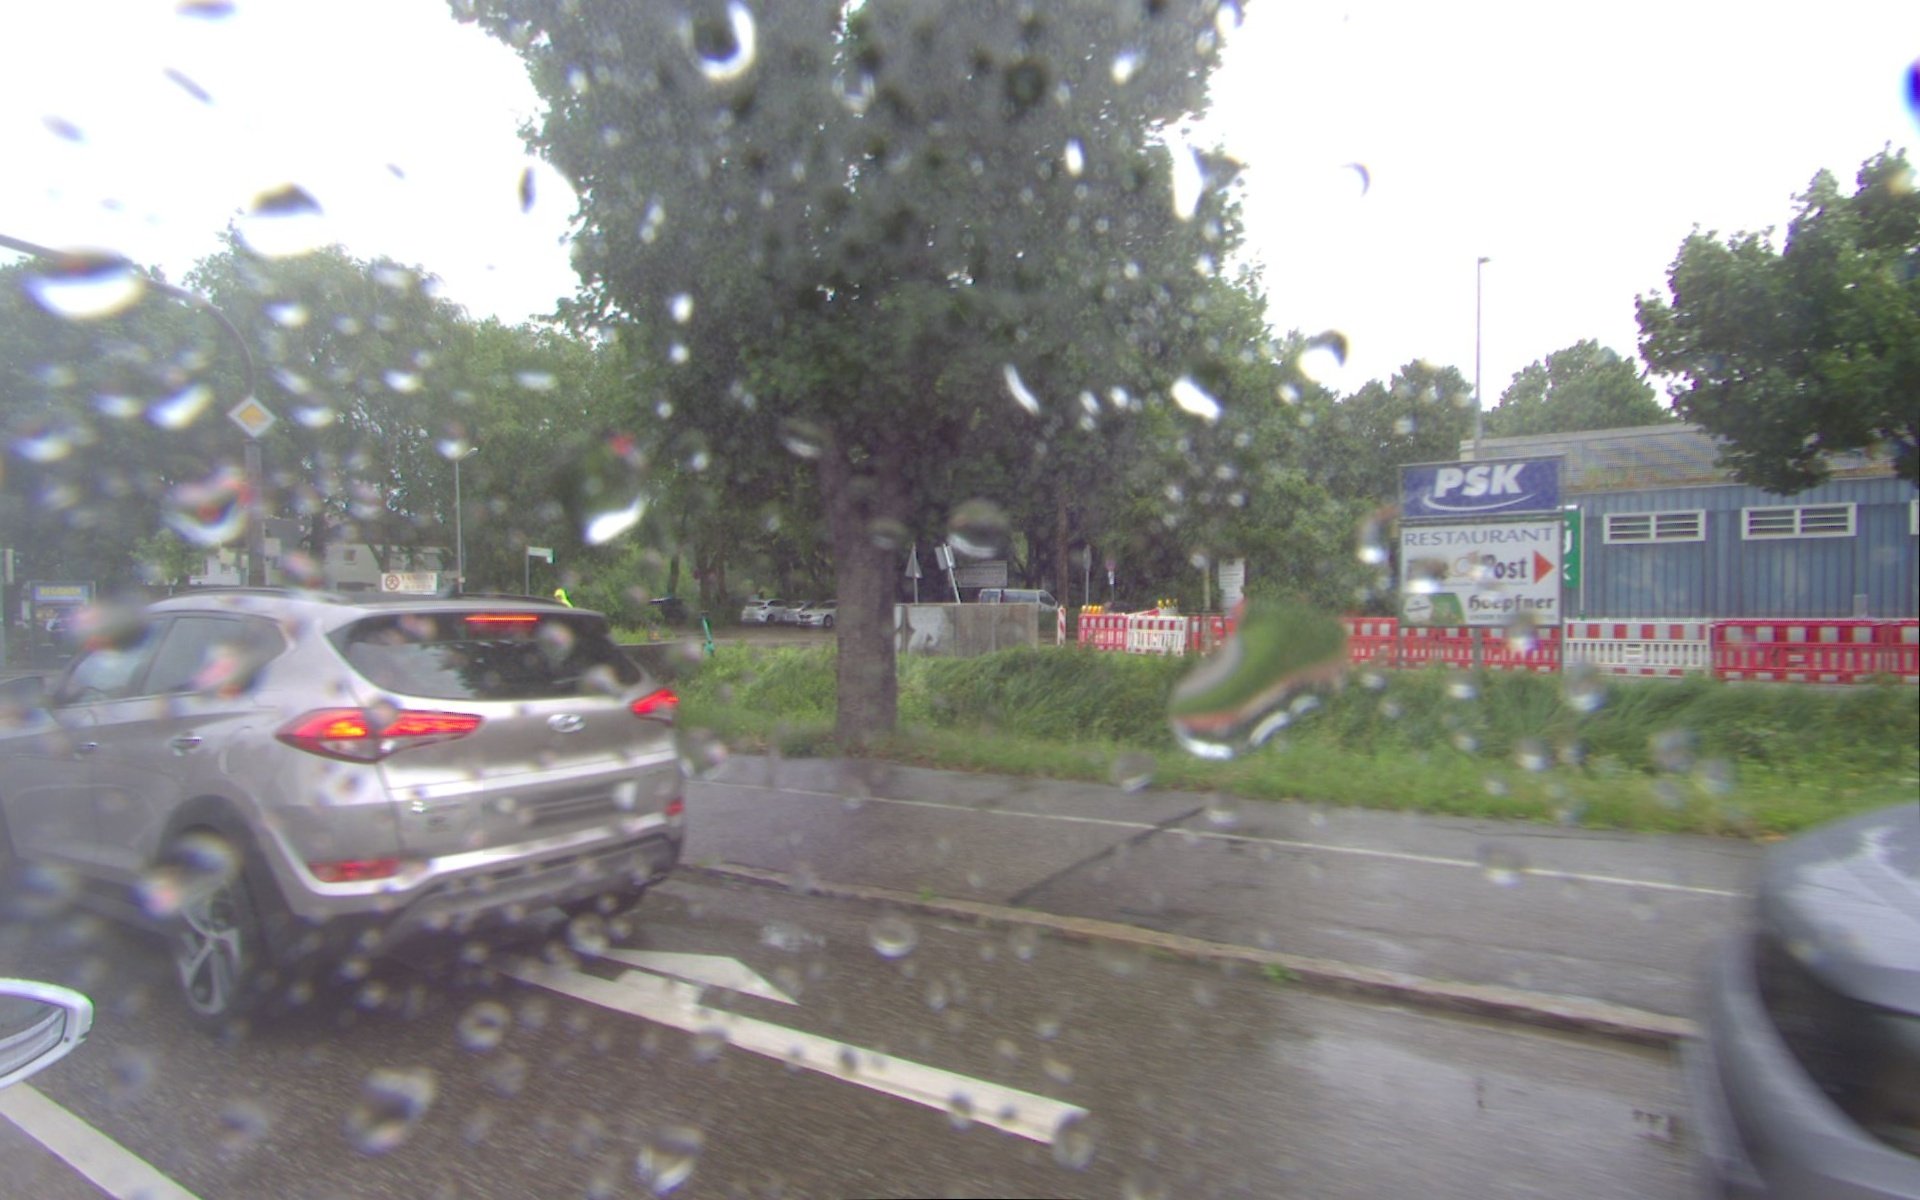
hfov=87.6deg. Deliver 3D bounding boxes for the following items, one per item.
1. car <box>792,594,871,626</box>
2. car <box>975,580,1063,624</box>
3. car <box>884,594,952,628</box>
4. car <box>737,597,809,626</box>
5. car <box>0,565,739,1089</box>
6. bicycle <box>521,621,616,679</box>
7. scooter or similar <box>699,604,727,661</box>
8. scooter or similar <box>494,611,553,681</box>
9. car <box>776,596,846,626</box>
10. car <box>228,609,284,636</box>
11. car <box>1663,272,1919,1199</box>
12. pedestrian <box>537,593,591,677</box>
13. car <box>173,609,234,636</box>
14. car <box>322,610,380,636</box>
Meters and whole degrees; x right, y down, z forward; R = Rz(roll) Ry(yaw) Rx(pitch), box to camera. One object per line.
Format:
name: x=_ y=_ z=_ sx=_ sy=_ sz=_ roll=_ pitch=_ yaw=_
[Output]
car: x=-6.983 y=0.575 z=54.811 sx=1.898 sy=1.651 sz=4.580 roll=-1 pitch=-2 yaw=31
car: x=2.928 y=0.144 z=49.291 sx=4.146 sy=1.989 sz=1.912 roll=1 pitch=-2 yaw=-38
car: x=-2.113 y=0.599 z=51.630 sx=1.697 sy=1.617 sz=3.649 roll=-1 pitch=-2 yaw=34
car: x=-10.863 y=0.708 z=58.491 sx=1.894 sy=1.603 sz=4.590 roll=-1 pitch=-2 yaw=23
car: x=-3.284 y=0.762 z=5.028 sx=4.135 sy=1.631 sz=1.881 roll=-1 pitch=-1 yaw=32
bicycle: x=-8.305 y=1.034 z=21.294 sx=0.779 sy=1.053 sz=1.651 roll=0 pitch=4 yaw=37
scooter or similar: x=-5.277 y=0.688 z=21.388 sx=0.553 sy=1.192 sz=0.284 roll=0 pitch=1 yaw=39
scooter or similar: x=-8.020 y=0.828 z=18.435 sx=0.317 sy=1.246 sz=0.954 roll=0 pitch=1 yaw=36
car: x=-8.455 y=0.661 z=57.200 sx=1.894 sy=1.603 sz=4.590 roll=-1 pitch=-2 yaw=23
car: x=-39.702 y=1.306 z=56.547 sx=1.641 sy=1.467 sz=3.744 roll=1 pitch=-2 yaw=-20
car: x=3.332 y=0.569 z=0.705 sx=4.496 sy=1.819 sz=1.990 roll=-1 pitch=-1 yaw=32
pedestrian: x=-8.376 y=0.721 z=21.186 sx=0.779 sy=1.702 sz=0.664 roll=0 pitch=5 yaw=38
car: x=-41.742 y=1.265 z=55.340 sx=1.641 sy=1.467 sz=3.744 roll=1 pitch=-2 yaw=-20
car: x=-34.926 y=1.336 z=57.516 sx=1.573 sy=1.467 sz=3.751 roll=0 pitch=-2 yaw=-11
